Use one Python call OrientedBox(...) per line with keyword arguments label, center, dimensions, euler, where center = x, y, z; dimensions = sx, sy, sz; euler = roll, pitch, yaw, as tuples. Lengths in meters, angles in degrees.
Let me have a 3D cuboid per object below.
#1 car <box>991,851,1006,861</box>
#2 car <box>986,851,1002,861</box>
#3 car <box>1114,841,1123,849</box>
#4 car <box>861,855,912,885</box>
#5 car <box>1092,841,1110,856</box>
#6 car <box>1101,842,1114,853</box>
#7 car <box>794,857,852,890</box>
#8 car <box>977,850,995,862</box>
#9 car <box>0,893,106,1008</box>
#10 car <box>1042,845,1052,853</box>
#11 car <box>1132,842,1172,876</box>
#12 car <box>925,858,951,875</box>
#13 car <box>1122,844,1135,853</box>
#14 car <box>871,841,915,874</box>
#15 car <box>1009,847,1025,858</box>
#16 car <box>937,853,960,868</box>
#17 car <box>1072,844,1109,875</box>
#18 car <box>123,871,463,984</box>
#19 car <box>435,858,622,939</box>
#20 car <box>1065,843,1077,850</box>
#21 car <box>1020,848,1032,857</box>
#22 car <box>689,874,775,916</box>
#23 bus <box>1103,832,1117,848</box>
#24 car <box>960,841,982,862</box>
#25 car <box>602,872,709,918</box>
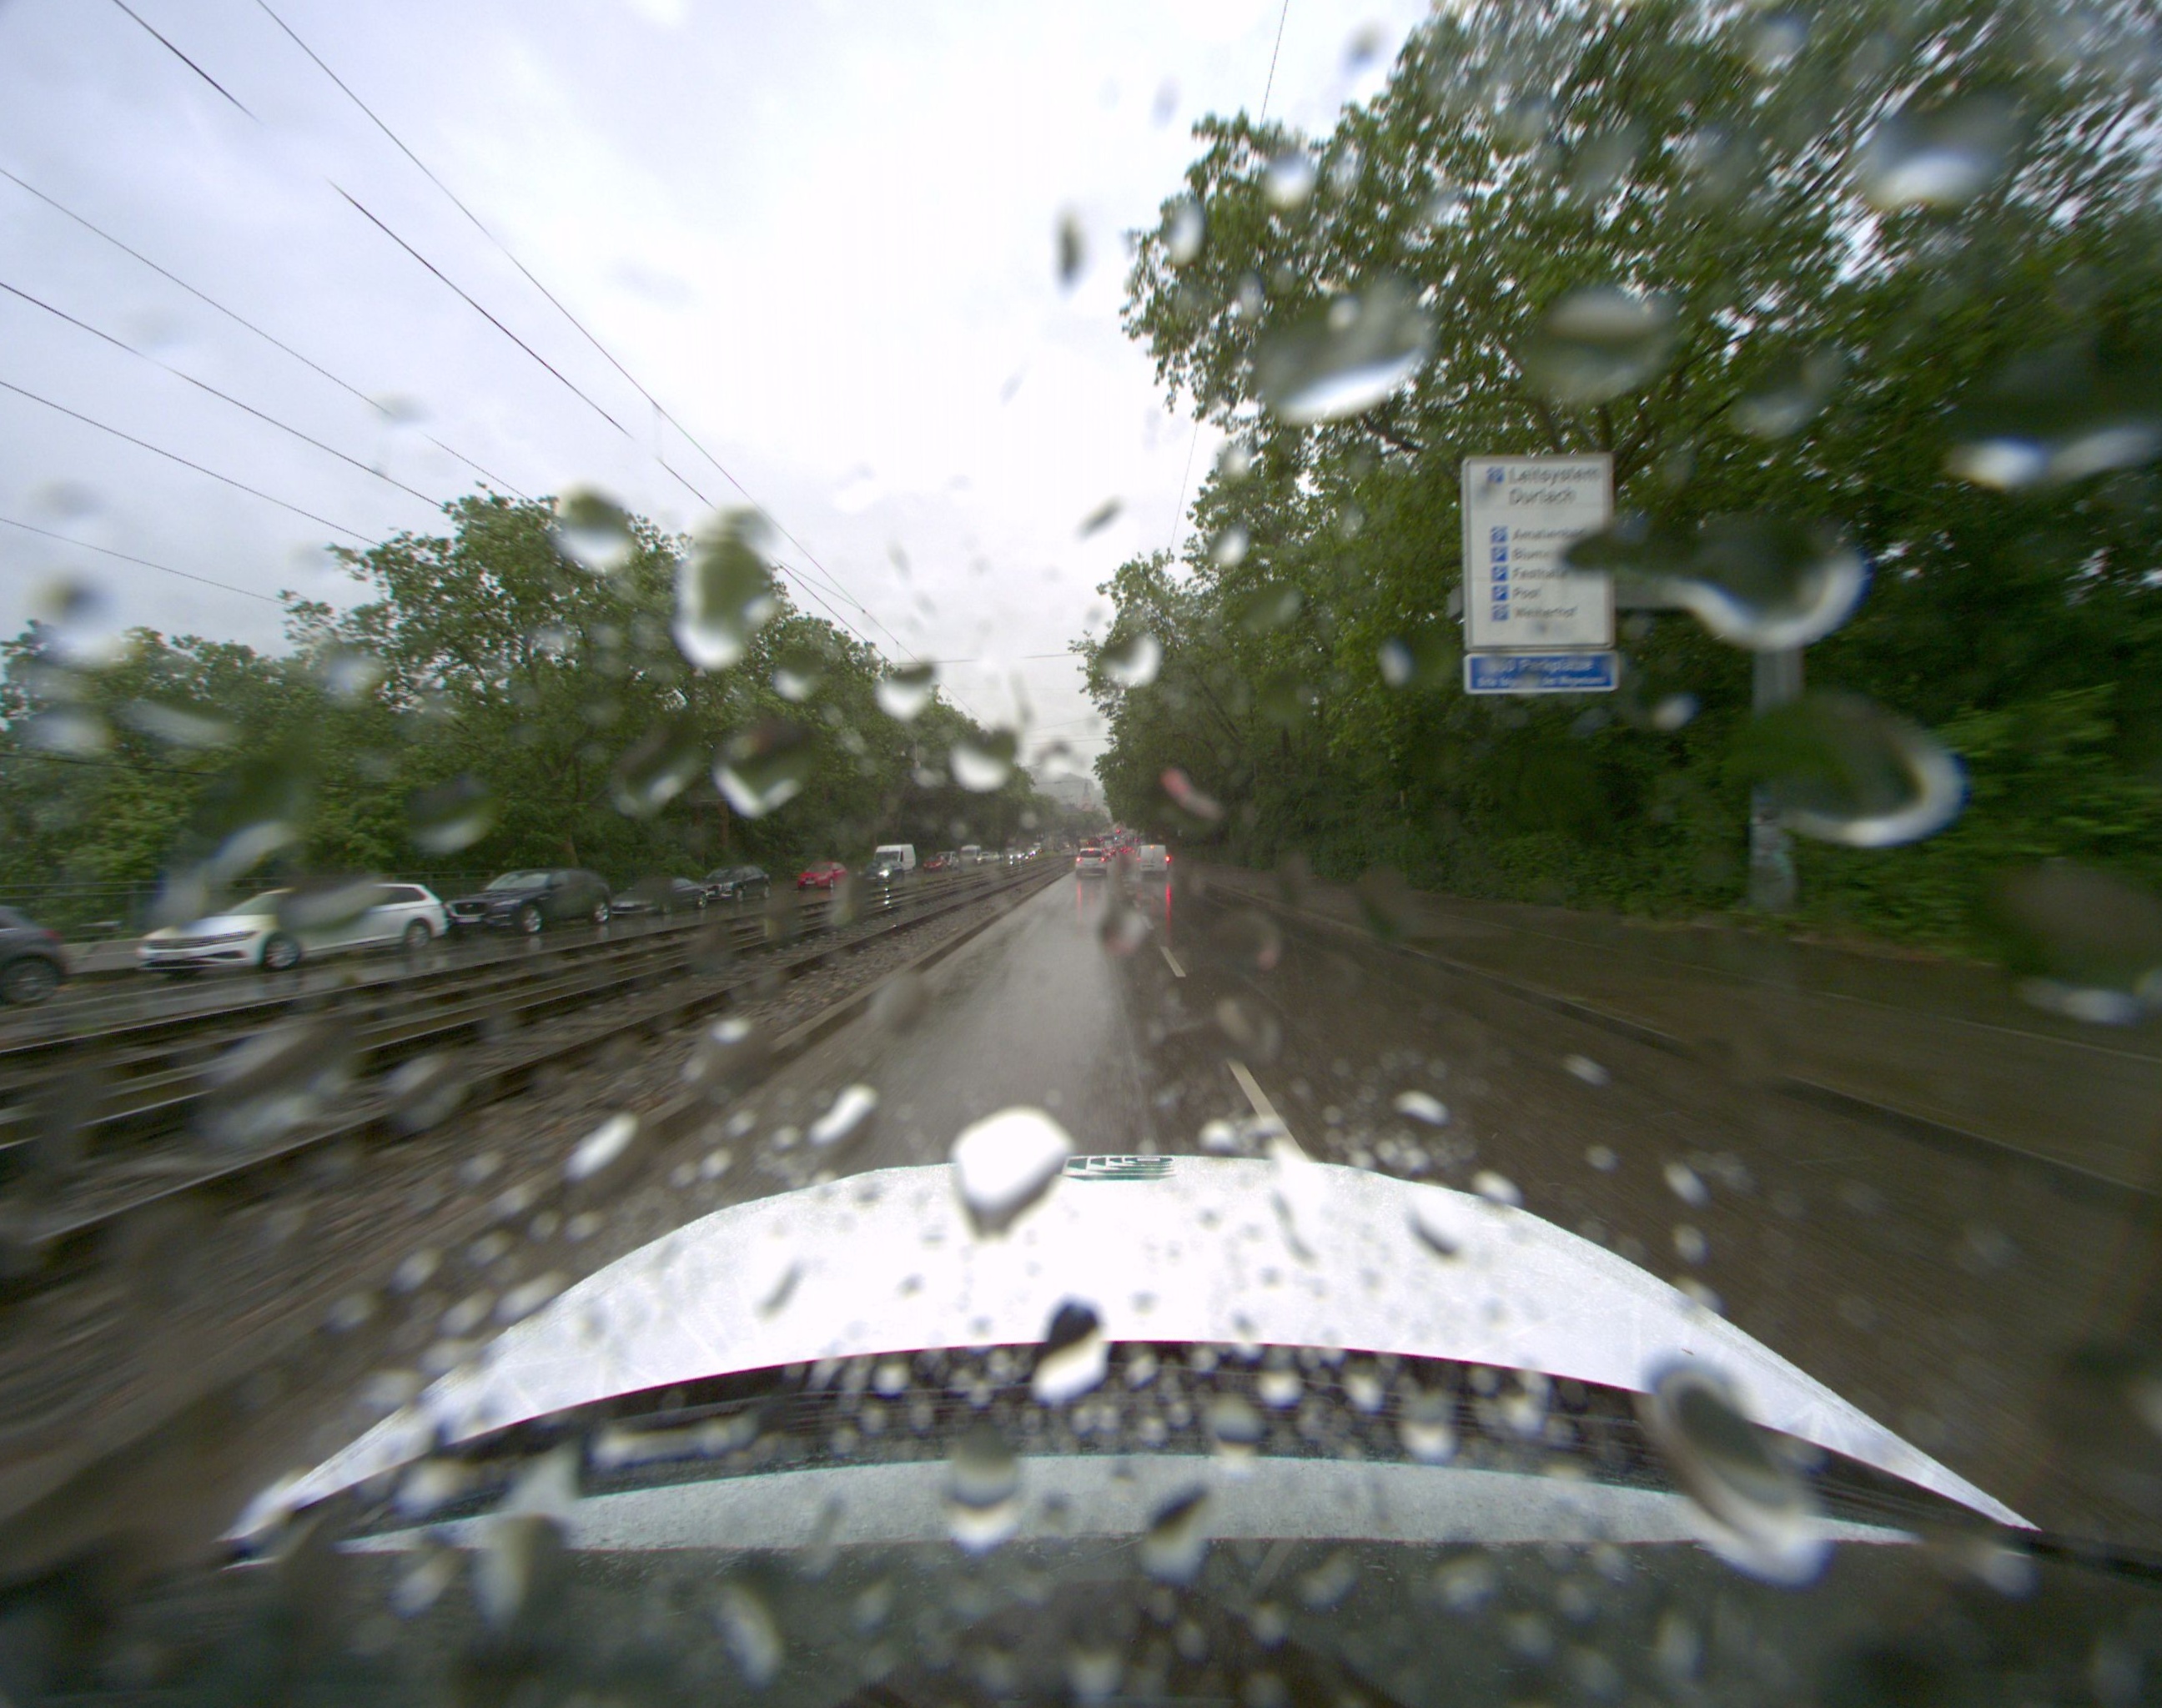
OrientedBox(label="car", center=(-13.705, 0.346, 135.516), dimensions=(1.798, 1.350, 4.266), euler=(-3, 1, 1))
OrientedBox(label="car", center=(-13.872, 0.321, 130.236), dimensions=(1.798, 1.350, 4.266), euler=(-3, 1, 1))
OrientedBox(label="car", center=(8.549, -2.016, 187.367), dimensions=(1.985, 1.826, 4.004), euler=(0, 2, 3))
OrientedBox(label="car", center=(-10.889, 0.865, 45.927), dimensions=(1.500, 1.400, 4.710), euler=(-3, 1, 2))
OrientedBox(label="car", center=(2.411, -0.677, 98.095), dimensions=(1.985, 1.826, 4.004), euler=(0, 2, 3))
OrientedBox(label="car", center=(4.579, -1.172, 139.569), dimensions=(1.985, 1.826, 4.004), euler=(0, 2, 3))
OrientedBox(label="car", center=(-13.983, 1.023, 44.367), dimensions=(1.604, 1.442, 4.264), euler=(-3, 1, 2))
OrientedBox(label="car", center=(-13.140, 0.263, 112.563), dimensions=(1.798, 1.350, 4.266), euler=(-3, 1, 1))
OrientedBox(label="car", center=(-14.695, 1.355, 9.440), dimensions=(1.502, 1.400, 4.404), euler=(-4, 1, -3))
OrientedBox(label="car", center=(-6.541, -1.020, 157.704), dimensions=(1.801, 1.350, 4.258), euler=(-4, 1, -4))
OrientedBox(label="car", center=(3.741, 0.225, 43.456), dimensions=(1.985, 1.726, 4.004), euler=(0, 2, 3))
OrientedBox(label="car", center=(-13.250, 1.118, 75.643), dimensions=(1.500, 1.350, 4.029), euler=(-3, 1, 2))
OrientedBox(label="car", center=(7.414, -0.934, 127.079), dimensions=(1.985, 1.321, 4.004), euler=(0, 2, 3))
OrientedBox(label="car", center=(-13.664, 0.201, 59.628), dimensions=(1.735, 2.169, 5.814), euler=(-3, 1, 0))
OrientedBox(label="car", center=(-9.591, -0.232, 121.779), dimensions=(1.798, 1.350, 4.266), euler=(-3, 1, 1))
OrientedBox(label="car", center=(-13.248, 0.626, 81.456), dimensions=(1.500, 1.350, 4.029), euler=(-3, 1, 2))
OrientedBox(label="car", center=(0.615, 0.276, 47.605), dimensions=(1.985, 1.716, 4.004), euler=(0, 2, 3))
OrientedBox(label="car", center=(-14.493, 1.233, 15.509), dimensions=(1.501, 1.400, 4.894), euler=(-7, 2, 1))
OrientedBox(label="car", center=(-14.264, 1.049, 21.435), dimensions=(1.501, 1.671, 4.834), euler=(-3, 1, 0))
OrientedBox(label="car", center=(-2.161, -1.564, 176.968), dimensions=(1.795, 1.350, 4.272), euler=(-3, 1, 7))
OrientedBox(label="car", center=(-10.024, -0.328, 148.824), dimensions=(1.798, 1.350, 4.266), euler=(-3, 1, 1))
OrientedBox(label="car", center=(-14.073, 1.611, 33.099), dimensions=(1.500, 1.292, 4.098), euler=(-3, 1, 2))
OrientedBox(label="bus", center=(7.294, -3.594, 205.244), dimensions=(3.375, 3.836, 9.749), euler=(0, 2, 3))
OrientedBox(label="car", center=(-13.016, -0.322, 96.301), dimensions=(1.794, 2.221, 4.279), euler=(-3, 1, 1))
OrientedBox(label="car", center=(-14.247, 1.324, 27.490), dimensions=(1.500, 1.172, 3.714), euler=(-3, 1, 2))
